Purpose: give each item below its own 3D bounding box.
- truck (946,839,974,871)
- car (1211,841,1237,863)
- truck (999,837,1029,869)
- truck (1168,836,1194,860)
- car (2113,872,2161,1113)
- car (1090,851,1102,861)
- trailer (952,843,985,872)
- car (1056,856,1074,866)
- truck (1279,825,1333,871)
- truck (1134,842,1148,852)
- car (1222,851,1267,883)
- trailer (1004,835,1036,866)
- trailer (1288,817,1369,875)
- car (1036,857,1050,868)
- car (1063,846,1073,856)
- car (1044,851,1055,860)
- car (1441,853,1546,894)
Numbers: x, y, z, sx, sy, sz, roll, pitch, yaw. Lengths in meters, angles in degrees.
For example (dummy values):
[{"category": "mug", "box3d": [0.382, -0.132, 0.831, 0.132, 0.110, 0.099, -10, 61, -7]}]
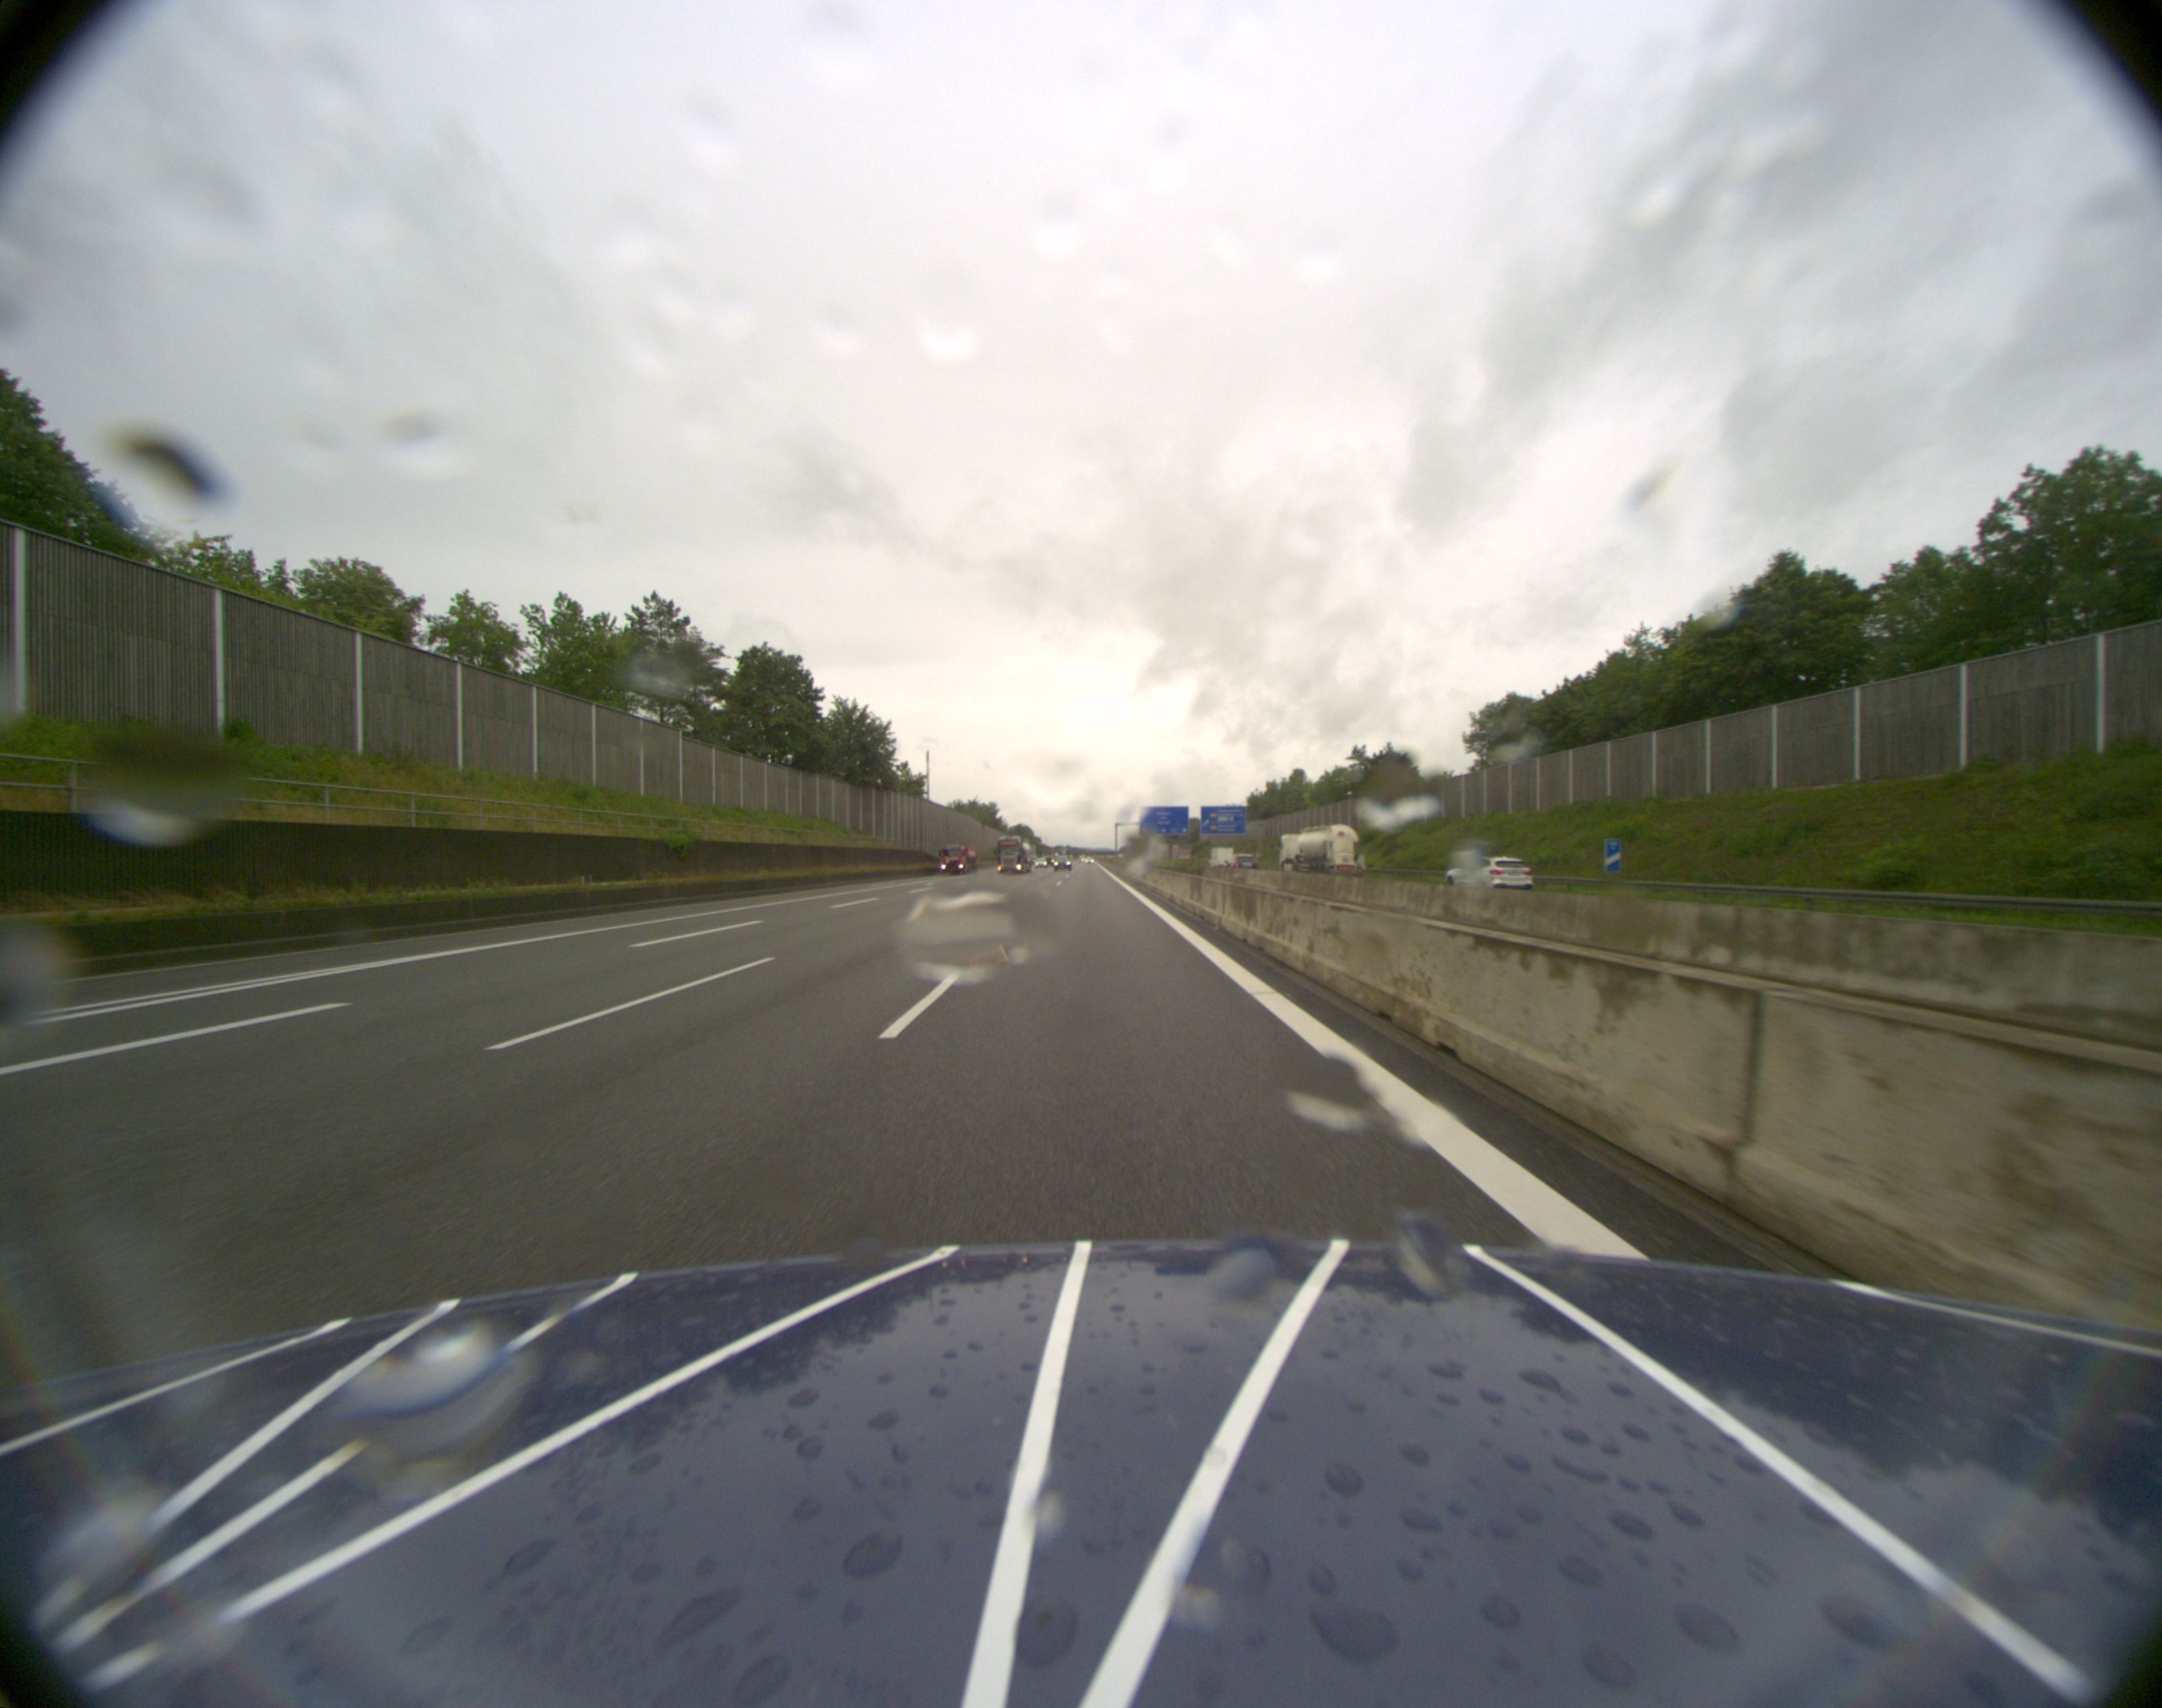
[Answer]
[{"category": "truck", "box3d": [-13.674, 0.098, 85.972, 2.420, 3.445, 4.000, -1, 1, 1]}, {"category": "car", "box3d": [19.495, -0.310, 104.038, 2.369, 2.953, 6.688, -1, 0, 0]}, {"category": "truck", "box3d": [-6.945, -0.094, 79.328, 2.617, 3.218, 4.632, -1, 1, 1]}, {"category": "truck", "box3d": [18.849, -1.089, 143.907, 3.326, 4.216, 11.145, -2, 0, 0]}, {"category": "car", "box3d": [9.981, 1.167, 4.246, 1.998, 2.002, 4.768, -1, 0, 1]}, {"category": "car", "box3d": [3.525, 0.486, 179.148, 2.680, 2.341, 5.807, -1, 0, -1]}, {"category": "trailer", "box3d": [-13.533, 0.376, 91.859, 2.452, 3.229, 9.400, -1, 0, 1]}, {"category": "car", "box3d": [-1.881, 0.822, 91.410, 2.061, 1.020, 3.438, -2, 1, 1]}, {"category": "truck", "box3d": [18.721, -0.529, 63.590, 2.707, 3.537, 5.857, 2, 1, 1]}, {"category": "truck", "box3d": [16.023, -1.874, 203.487, 2.982, 2.756, 7.262, -1, 0, 0]}, {"category": "car", "box3d": [10.675, 0.788, 49.861, 1.998, 2.002, 4.768, -1, 0, 1]}, {"category": "trailer", "box3d": [-6.856, -0.420, 86.258, 2.600, 3.229, 9.915, -1, 0, 1]}, {"category": "trailer", "box3d": [18.643, -0.624, 58.118, 2.718, 3.901, 10.643, 2, 1, 1]}, {"category": "car", "box3d": [-6.192, 1.449, 124.652, 1.916, 1.630, 3.999, -2, 1, 1]}, {"category": "car", "box3d": [-3.790, -0.837, 214.856, 2.769, 2.591, 5.807, -1, 0, -1]}, {"category": "car", "box3d": [-6.218, 0.225, 150.599, 1.998, 1.747, 4.000, -1, 1, 1]}, {"category": "car", "box3d": [18.001, 0.772, 33.491, 1.998, 1.633, 4.960, -1, 0, 1]}]
